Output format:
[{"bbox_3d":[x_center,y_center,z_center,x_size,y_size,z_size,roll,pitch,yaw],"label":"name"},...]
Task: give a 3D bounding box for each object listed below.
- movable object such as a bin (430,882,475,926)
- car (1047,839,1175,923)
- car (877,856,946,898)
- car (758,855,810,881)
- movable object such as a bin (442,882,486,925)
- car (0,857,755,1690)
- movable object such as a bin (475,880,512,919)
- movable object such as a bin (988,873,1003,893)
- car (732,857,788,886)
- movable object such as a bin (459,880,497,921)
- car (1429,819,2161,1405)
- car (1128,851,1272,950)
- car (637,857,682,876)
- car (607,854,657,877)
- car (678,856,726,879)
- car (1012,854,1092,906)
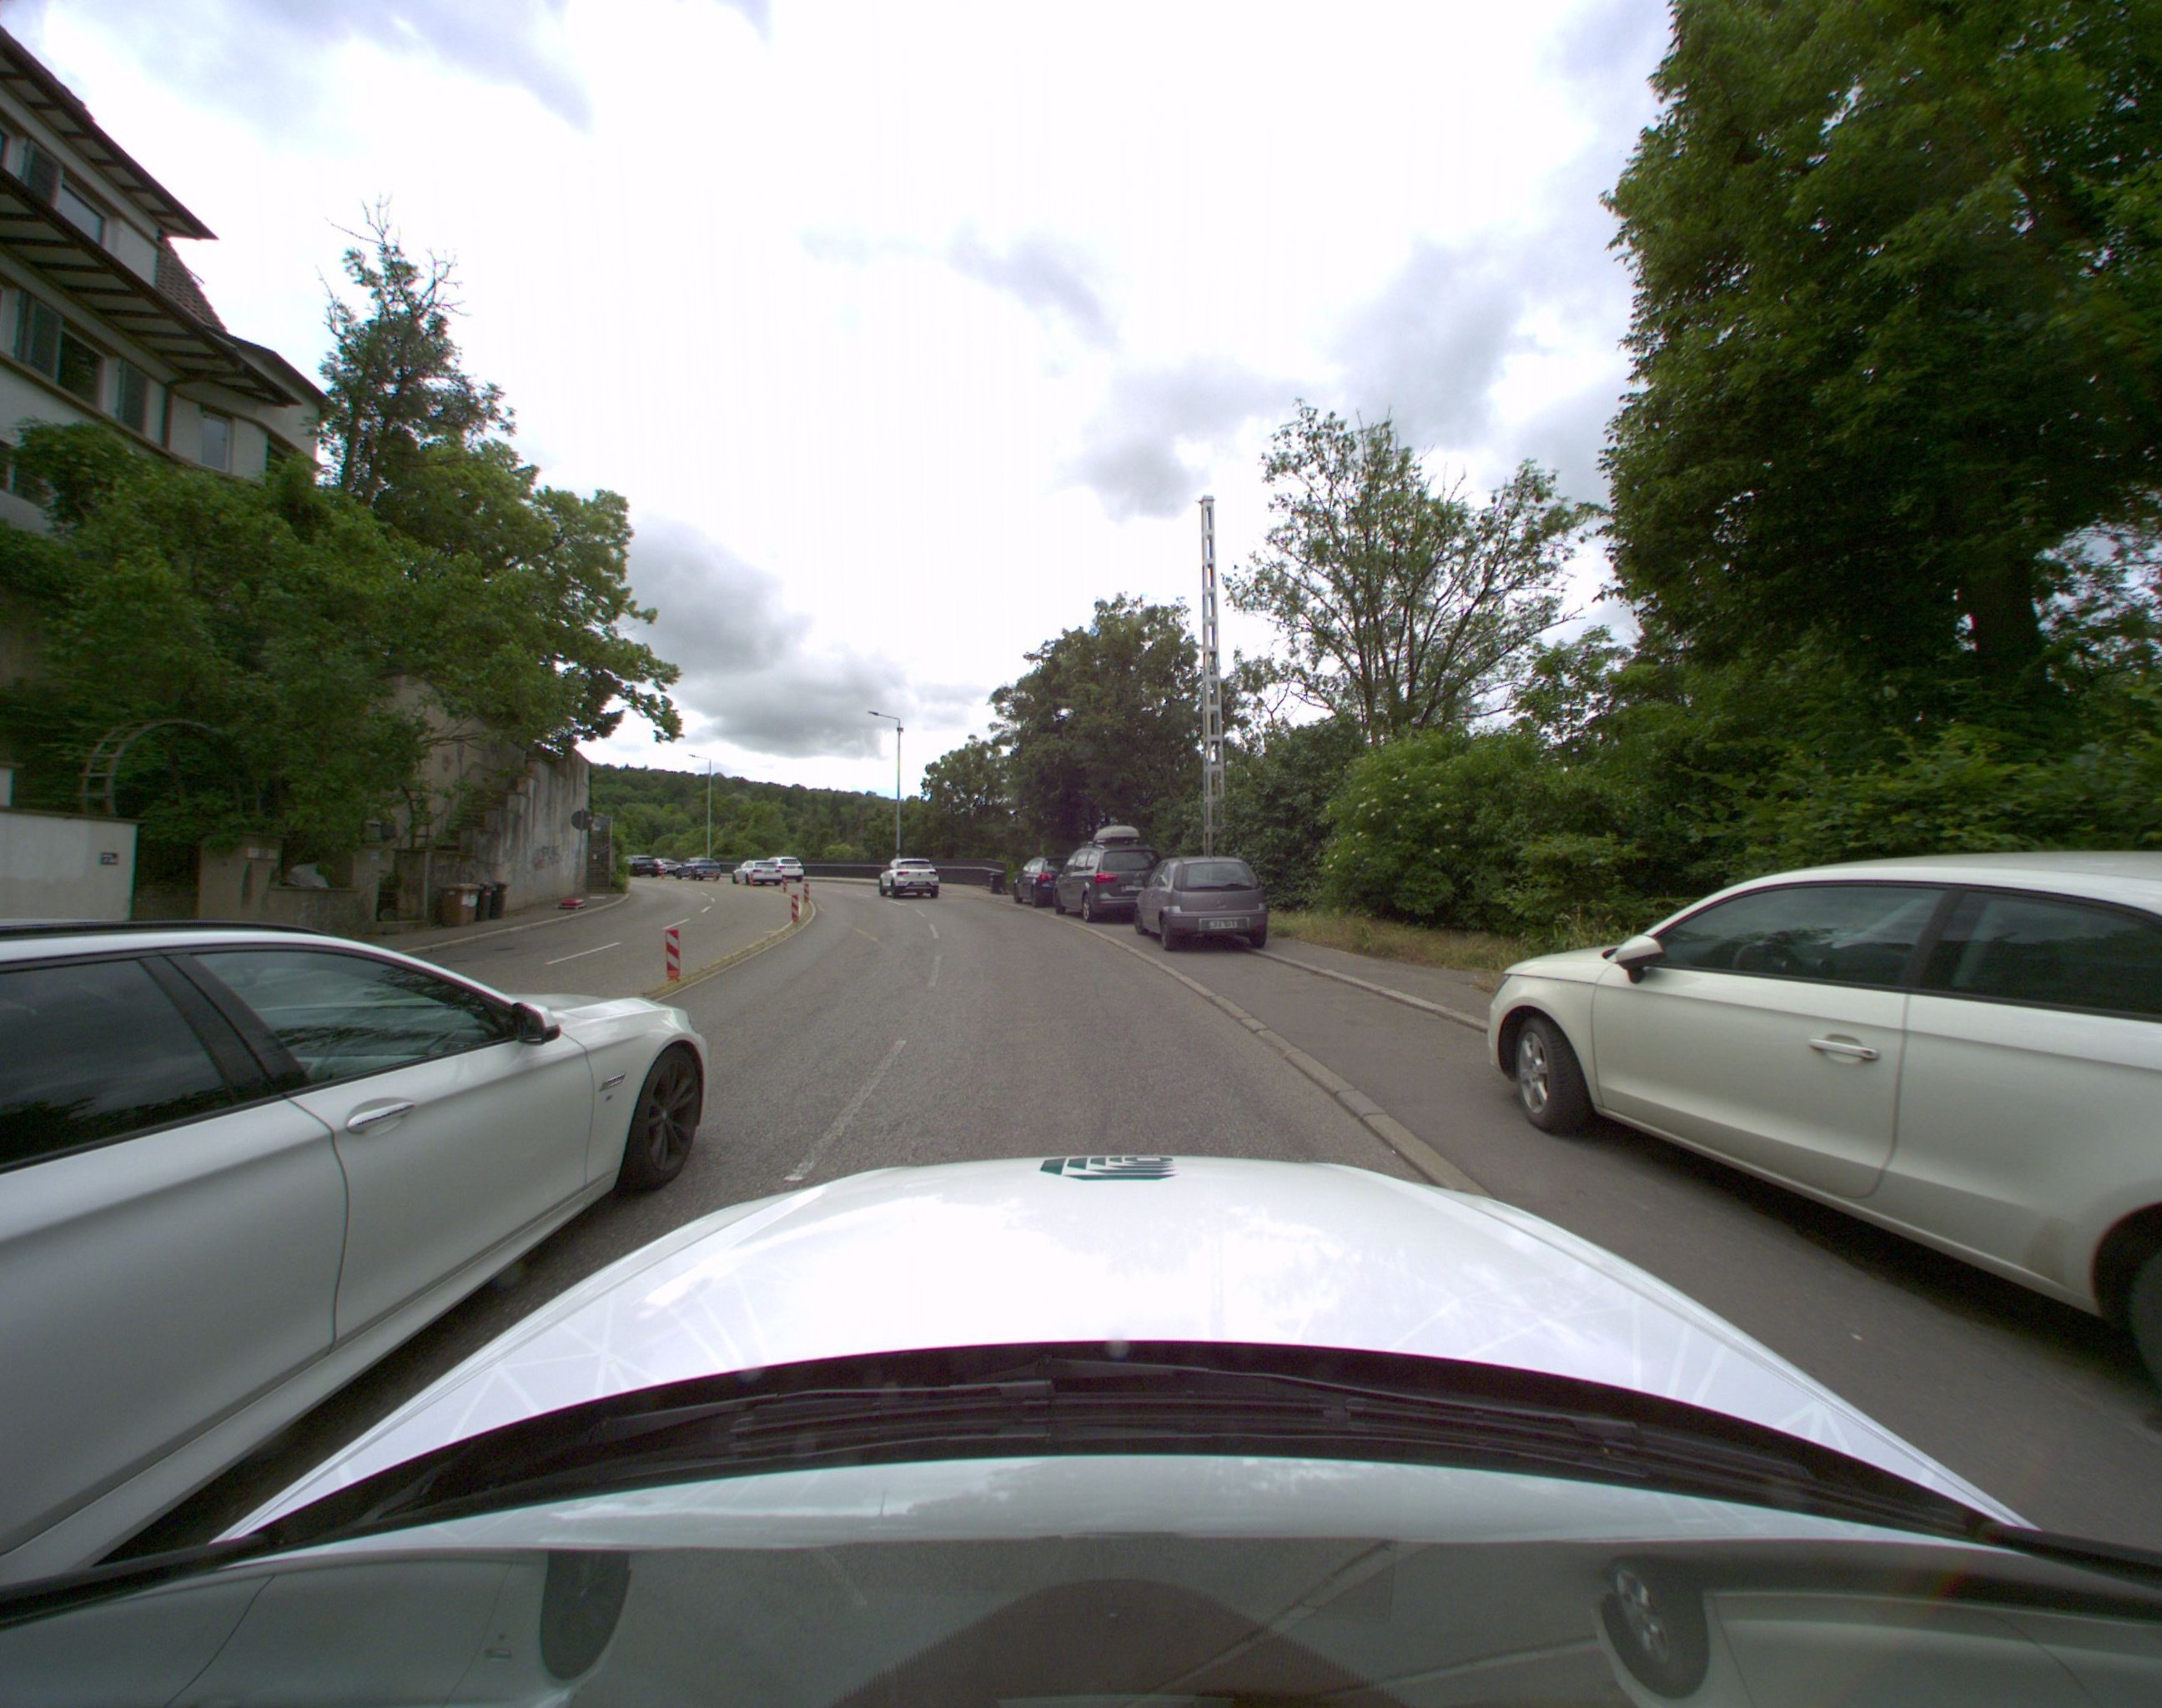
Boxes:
[{"bbox_3d":[-14.067,1.117,18.242,0.608,0.949,0.553,2,-1,-16],"label":"movable object such as a bin"},{"bbox_3d":[0.576,0.590,19.616,1.802,1.772,4.583,0,0,-15],"label":"car"},{"bbox_3d":[-6.920,0.910,32.921,1.876,1.536,3.772,-2,0,-25],"label":"car"},{"bbox_3d":[-19.621,0.902,53.707,2.010,1.586,3.953,2,-1,-40],"label":"car"},{"bbox_3d":[-14.225,1.129,18.785,0.608,0.949,0.577,2,-1,-16],"label":"movable object such as a bin"},{"bbox_3d":[-2.853,0.762,2.294,1.842,1.467,4.878,1,-1,0],"label":"car"},{"bbox_3d":[-14.531,1.119,20.156,0.544,0.949,0.564,2,-1,-16],"label":"movable object such as a bin"},{"bbox_3d":[-3.839,1.292,36.655,0.523,0.881,0.528,2,-1,-26],"label":"movable object such as a bin"},{"bbox_3d":[-18.886,1.002,47.786,1.922,1.574,3.954,2,-1,-39],"label":"car"},{"bbox_3d":[-14.464,1.104,19.535,0.544,0.949,0.564,2,-1,-16],"label":"movable object such as a bin"},{"bbox_3d":[3.349,0.612,3.269,1.776,1.418,3.989,-2,0,-7],"label":"car"},{"bbox_3d":[1.887,0.705,14.083,1.638,1.464,3.993,0,-1,-5],"label":"car"},{"bbox_3d":[-35.020,1.024,67.598,3.491,1.525,1.710,1,-1,31],"label":"car"},{"bbox_3d":[-35.069,0.899,63.603,3.948,1.689,1.833,1,-1,35],"label":"car"},{"bbox_3d":[-26.640,0.919,57.186,2.011,1.541,3.962,2,-1,-42],"label":"car"},{"bbox_3d":[-0.983,0.761,25.385,1.662,1.487,4.014,0,0,-15],"label":"car"}]
